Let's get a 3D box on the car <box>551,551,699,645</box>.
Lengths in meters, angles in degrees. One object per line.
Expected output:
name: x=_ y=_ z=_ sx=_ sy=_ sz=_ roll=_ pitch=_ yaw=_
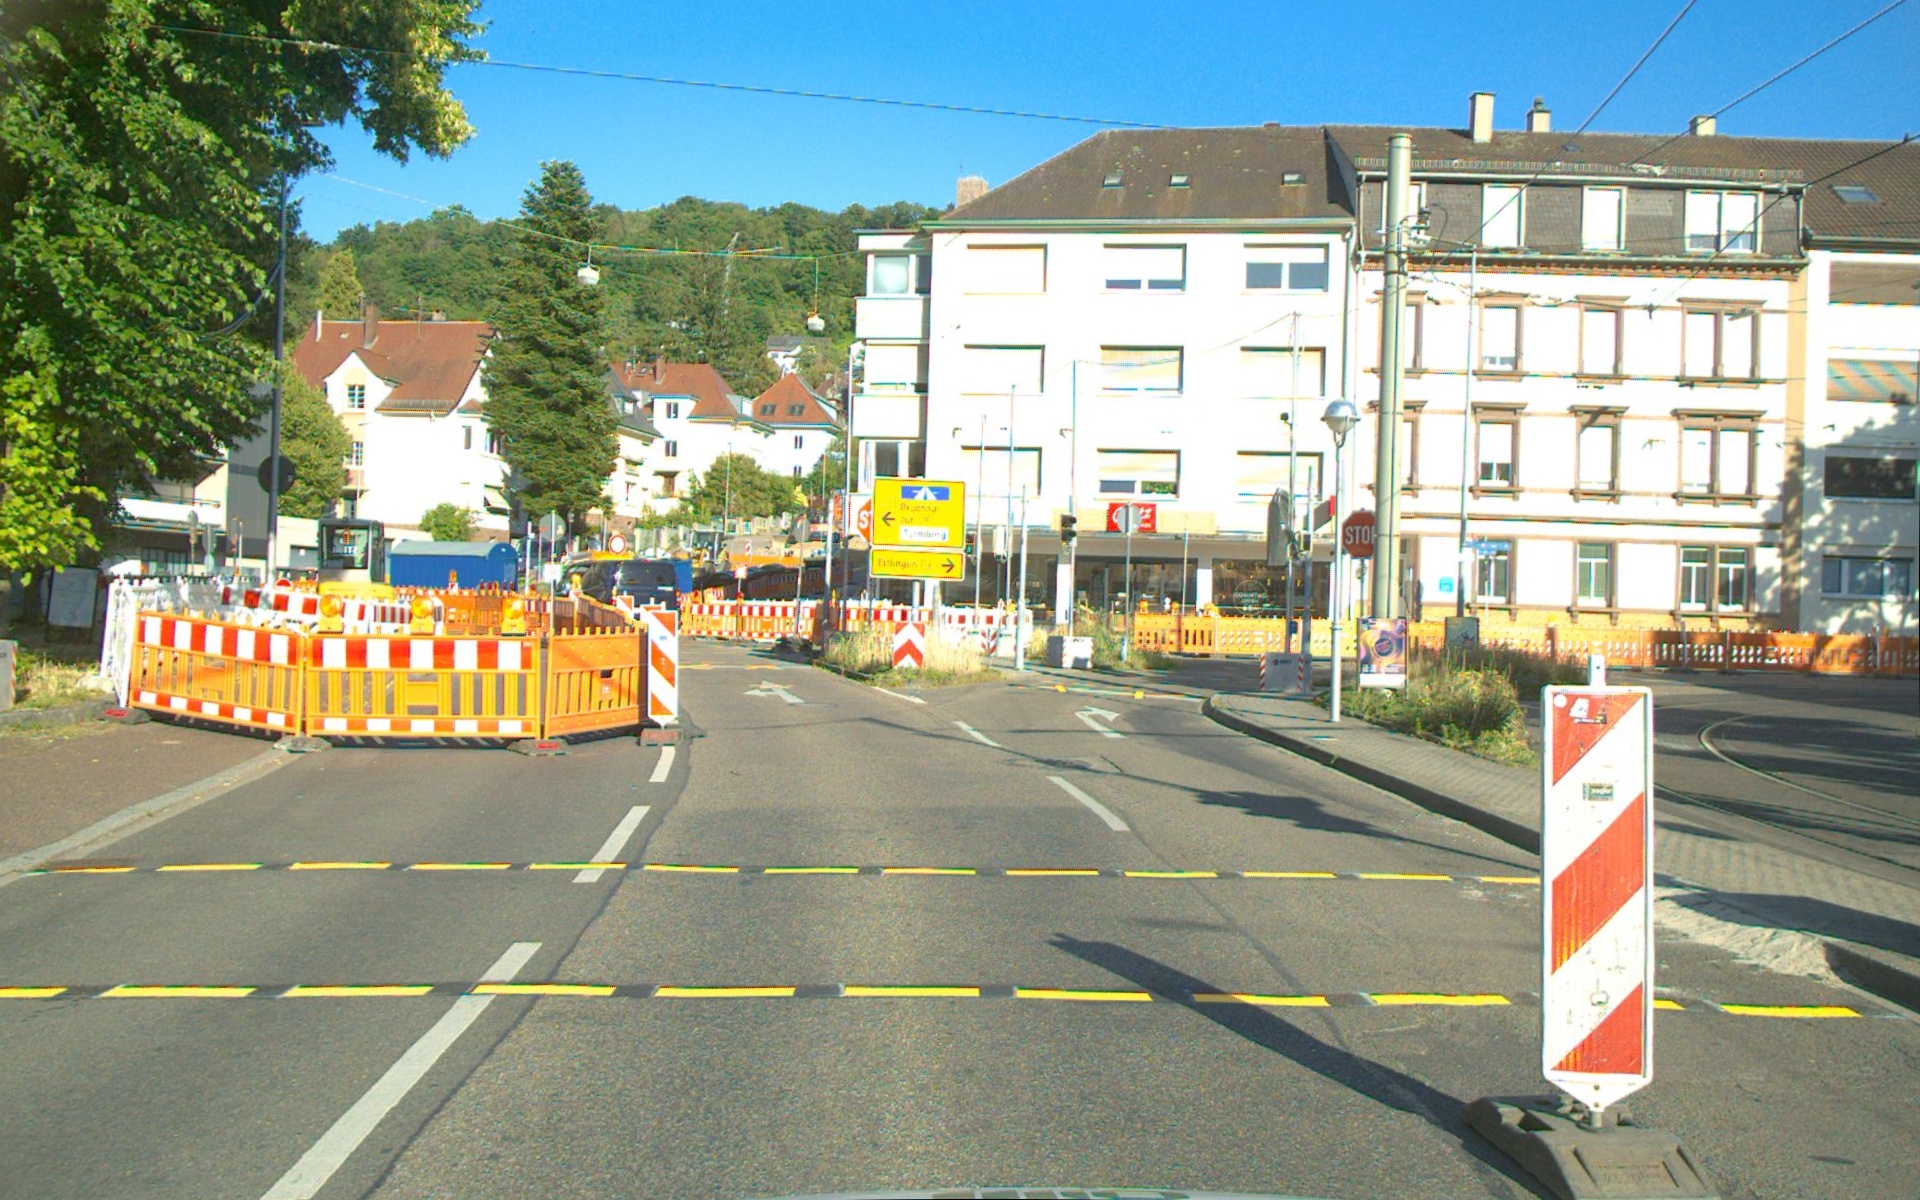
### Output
car: x=-8.367 y=-0.089 z=40.949 sx=2.041 sy=2.048 sz=4.949 roll=2 pitch=2 yaw=-31

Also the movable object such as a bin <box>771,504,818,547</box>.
movable object such as a bin: x=-11.354 y=-5.088 z=113.721 sx=2.144 sy=2.737 sz=4.003 roll=1 pitch=0 yaw=9

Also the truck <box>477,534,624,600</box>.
truck: x=-16.757 y=-1.292 z=68.492 sx=2.306 sy=2.458 sz=9.159 roll=1 pitch=0 yaw=10

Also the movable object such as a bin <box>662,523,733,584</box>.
movable object such as a bin: x=-12.557 y=-2.210 z=79.270 sx=2.144 sy=2.737 sz=4.003 roll=1 pitch=0 yaw=9
